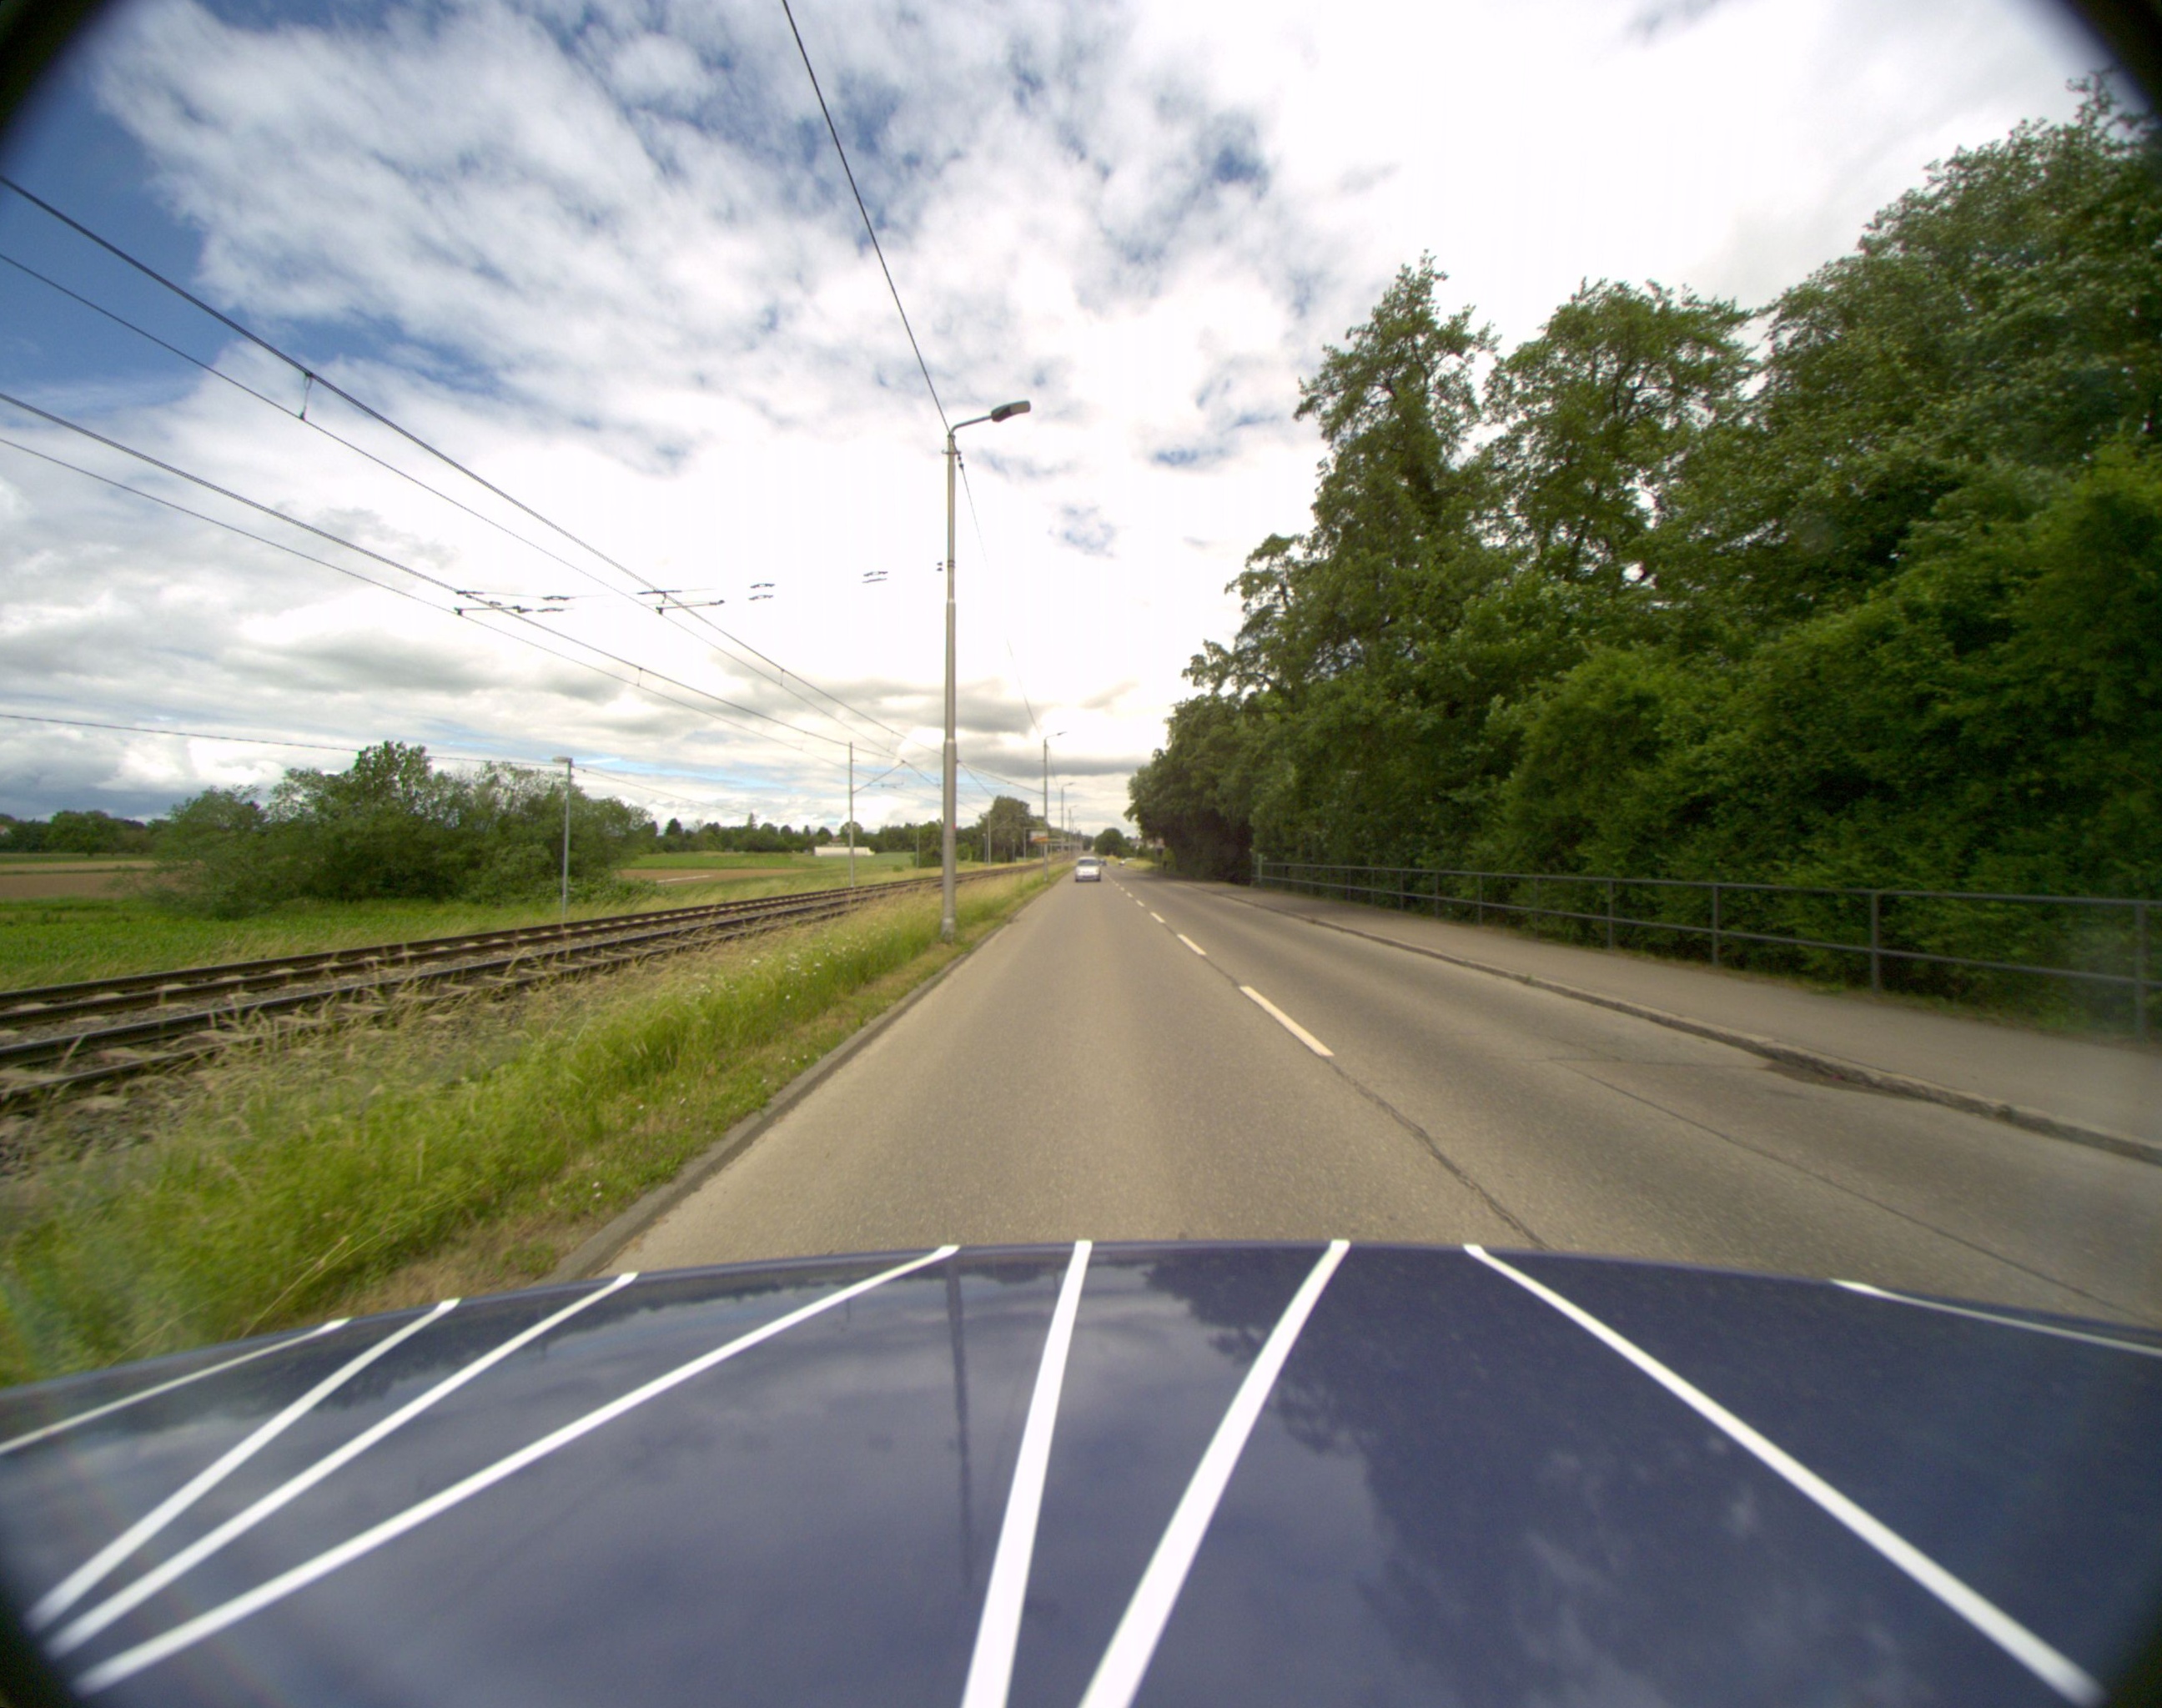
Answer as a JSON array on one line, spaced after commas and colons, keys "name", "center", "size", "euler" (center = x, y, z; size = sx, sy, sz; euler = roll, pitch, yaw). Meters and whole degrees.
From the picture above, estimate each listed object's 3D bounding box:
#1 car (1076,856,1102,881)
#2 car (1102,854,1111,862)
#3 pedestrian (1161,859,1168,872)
[{"name": "car", "center": [0.545, 0.928, 51.078], "size": [1.643, 1.510, 3.868], "euler": [-2, 1, 1]}, {"name": "car", "center": [5.082, 0.884, 153.562], "size": [1.711, 1.519, 3.824], "euler": [1, 0, 1]}, {"name": "pedestrian", "center": [10.385, 1.454, 94.475], "size": [0.706, 1.584, 0.707], "euler": [0, -1, 11]}]
